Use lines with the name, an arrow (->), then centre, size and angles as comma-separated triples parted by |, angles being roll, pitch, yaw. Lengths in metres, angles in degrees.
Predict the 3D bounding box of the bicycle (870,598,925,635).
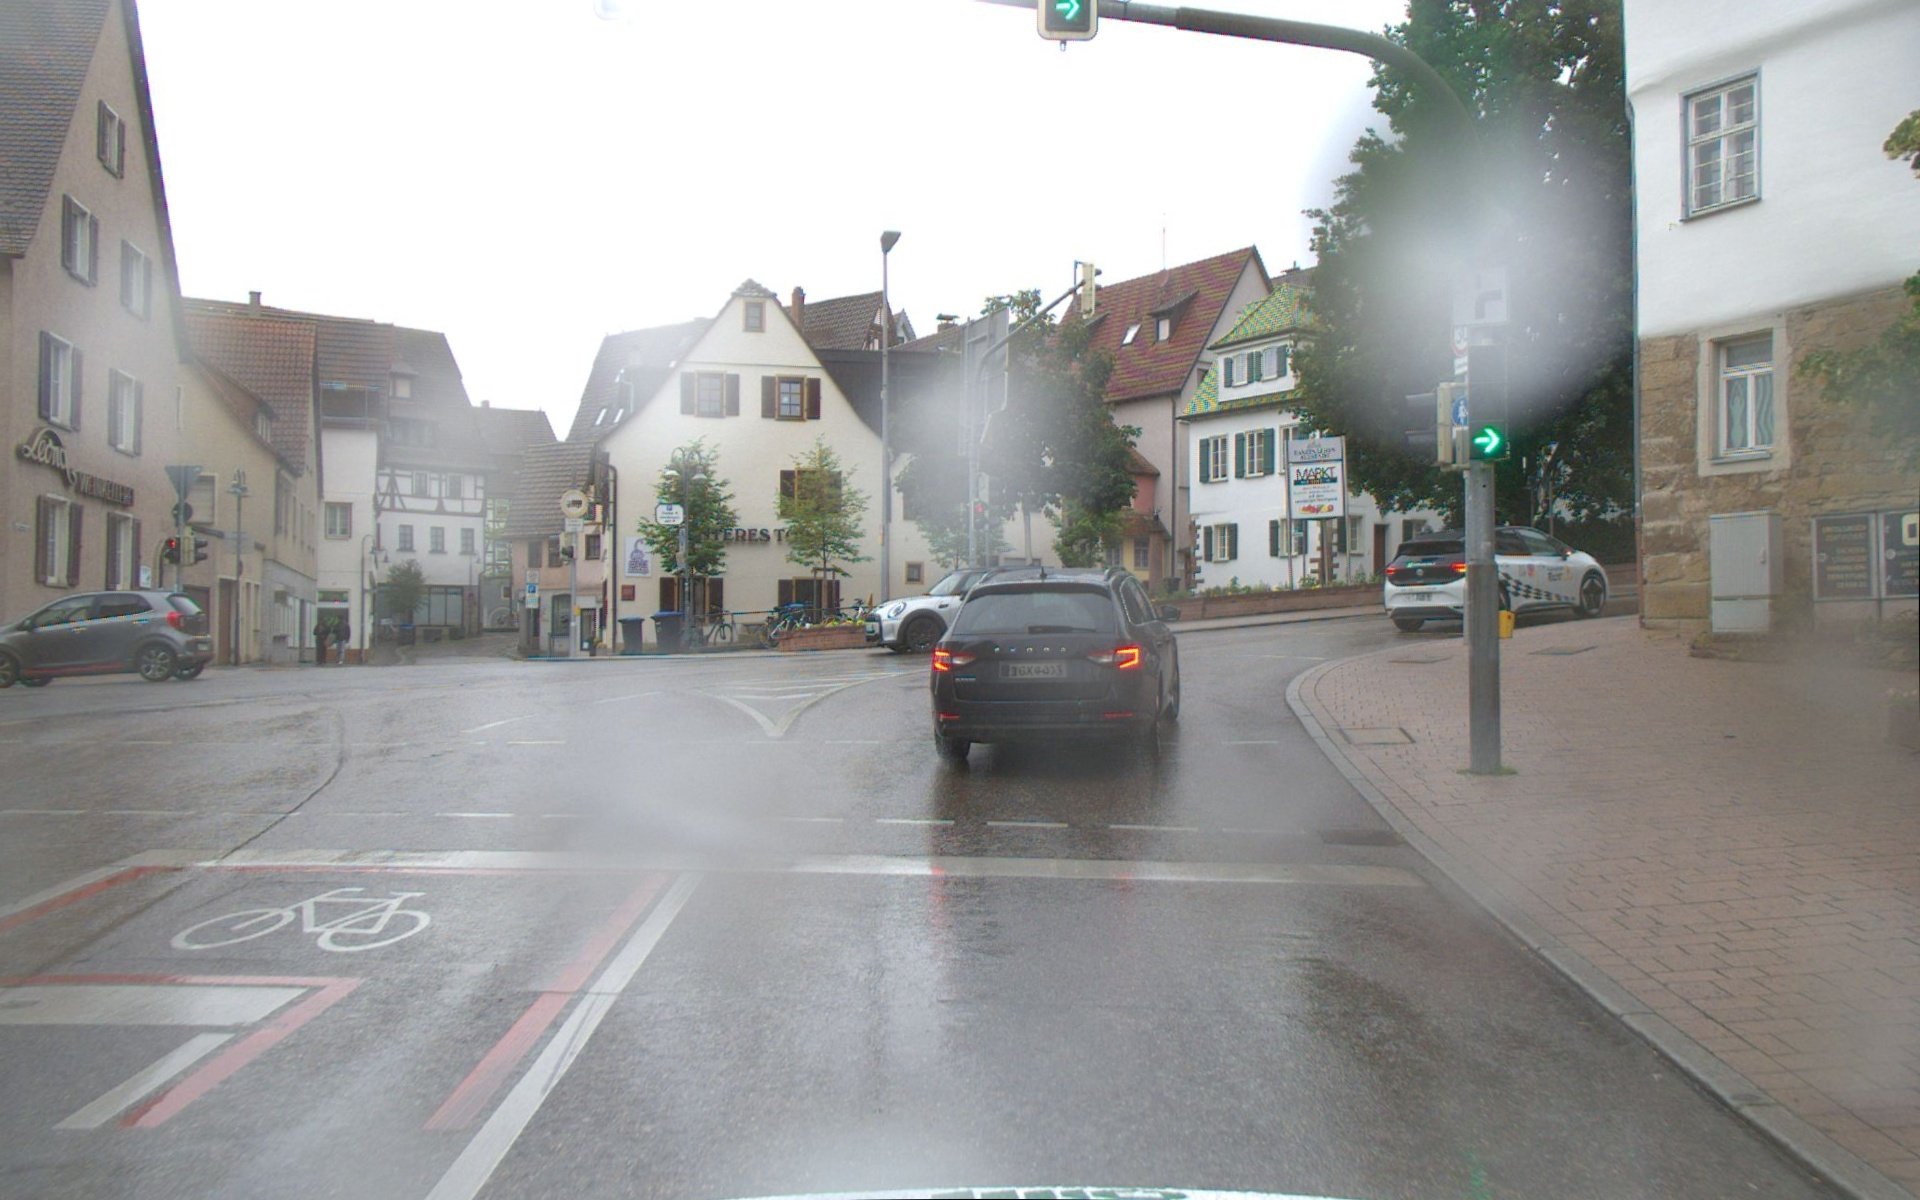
bicycle -> -1.641, 0.417, 43.336 | 1.451, 0.928, 0.388 | -1, 2, -33

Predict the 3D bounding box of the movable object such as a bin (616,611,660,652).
movable object such as a bin -> -7.751, 0.760, 39.819 | 0.709, 0.942, 0.788 | -1, 1, 22

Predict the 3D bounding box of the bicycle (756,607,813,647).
bicycle -> -4.364, 0.670, 41.166 | 0.386, 0.928, 1.459 | -1, 2, 45

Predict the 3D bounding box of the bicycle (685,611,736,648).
bicycle -> -6.084, 0.712, 40.338 | 0.331, 0.832, 1.432 | 2, 3, 36

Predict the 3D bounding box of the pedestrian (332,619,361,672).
pedestrian -> -21.177, 1.575, 57.120 | 0.765, 1.762, 0.629 | -2, 1, -12

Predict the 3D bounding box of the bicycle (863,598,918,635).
bicycle -> -1.832, 0.430, 43.712 | 1.451, 0.928, 0.388 | -1, 2, -33

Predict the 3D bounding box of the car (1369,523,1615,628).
car -> 8.472, -0.413, 26.225 | 3.961, 1.498, 1.837 | -3, 2, -39

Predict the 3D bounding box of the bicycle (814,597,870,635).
bicycle -> -3.041, 0.406, 42.788 | 1.451, 0.928, 0.388 | -1, 2, -33

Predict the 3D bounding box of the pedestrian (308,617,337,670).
pedestrian -> -21.959, 1.495, 56.953 | 0.765, 1.762, 0.629 | -2, 1, -12

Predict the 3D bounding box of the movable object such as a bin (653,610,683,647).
movable object such as a bin -> -7.288, 0.704, 41.317 | 0.580, 0.917, 0.578 | 0, 0, -31

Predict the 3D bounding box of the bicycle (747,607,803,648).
bicycle -> -4.638, 0.682, 41.541 | 0.386, 0.928, 1.459 | -1, 2, 45

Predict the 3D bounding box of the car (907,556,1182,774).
car -> 0.877, 0.411, 13.786 | 1.846, 1.473, 4.361 | -2, 1, 8

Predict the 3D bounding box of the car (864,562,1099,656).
car -> 0.330, 0.131, 29.277 | 3.911, 1.456, 1.997 | -2, 1, -7

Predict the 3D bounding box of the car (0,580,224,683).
car -> -13.968, 0.494, 26.892 | 3.318, 1.502, 1.532 | -2, 1, -11
